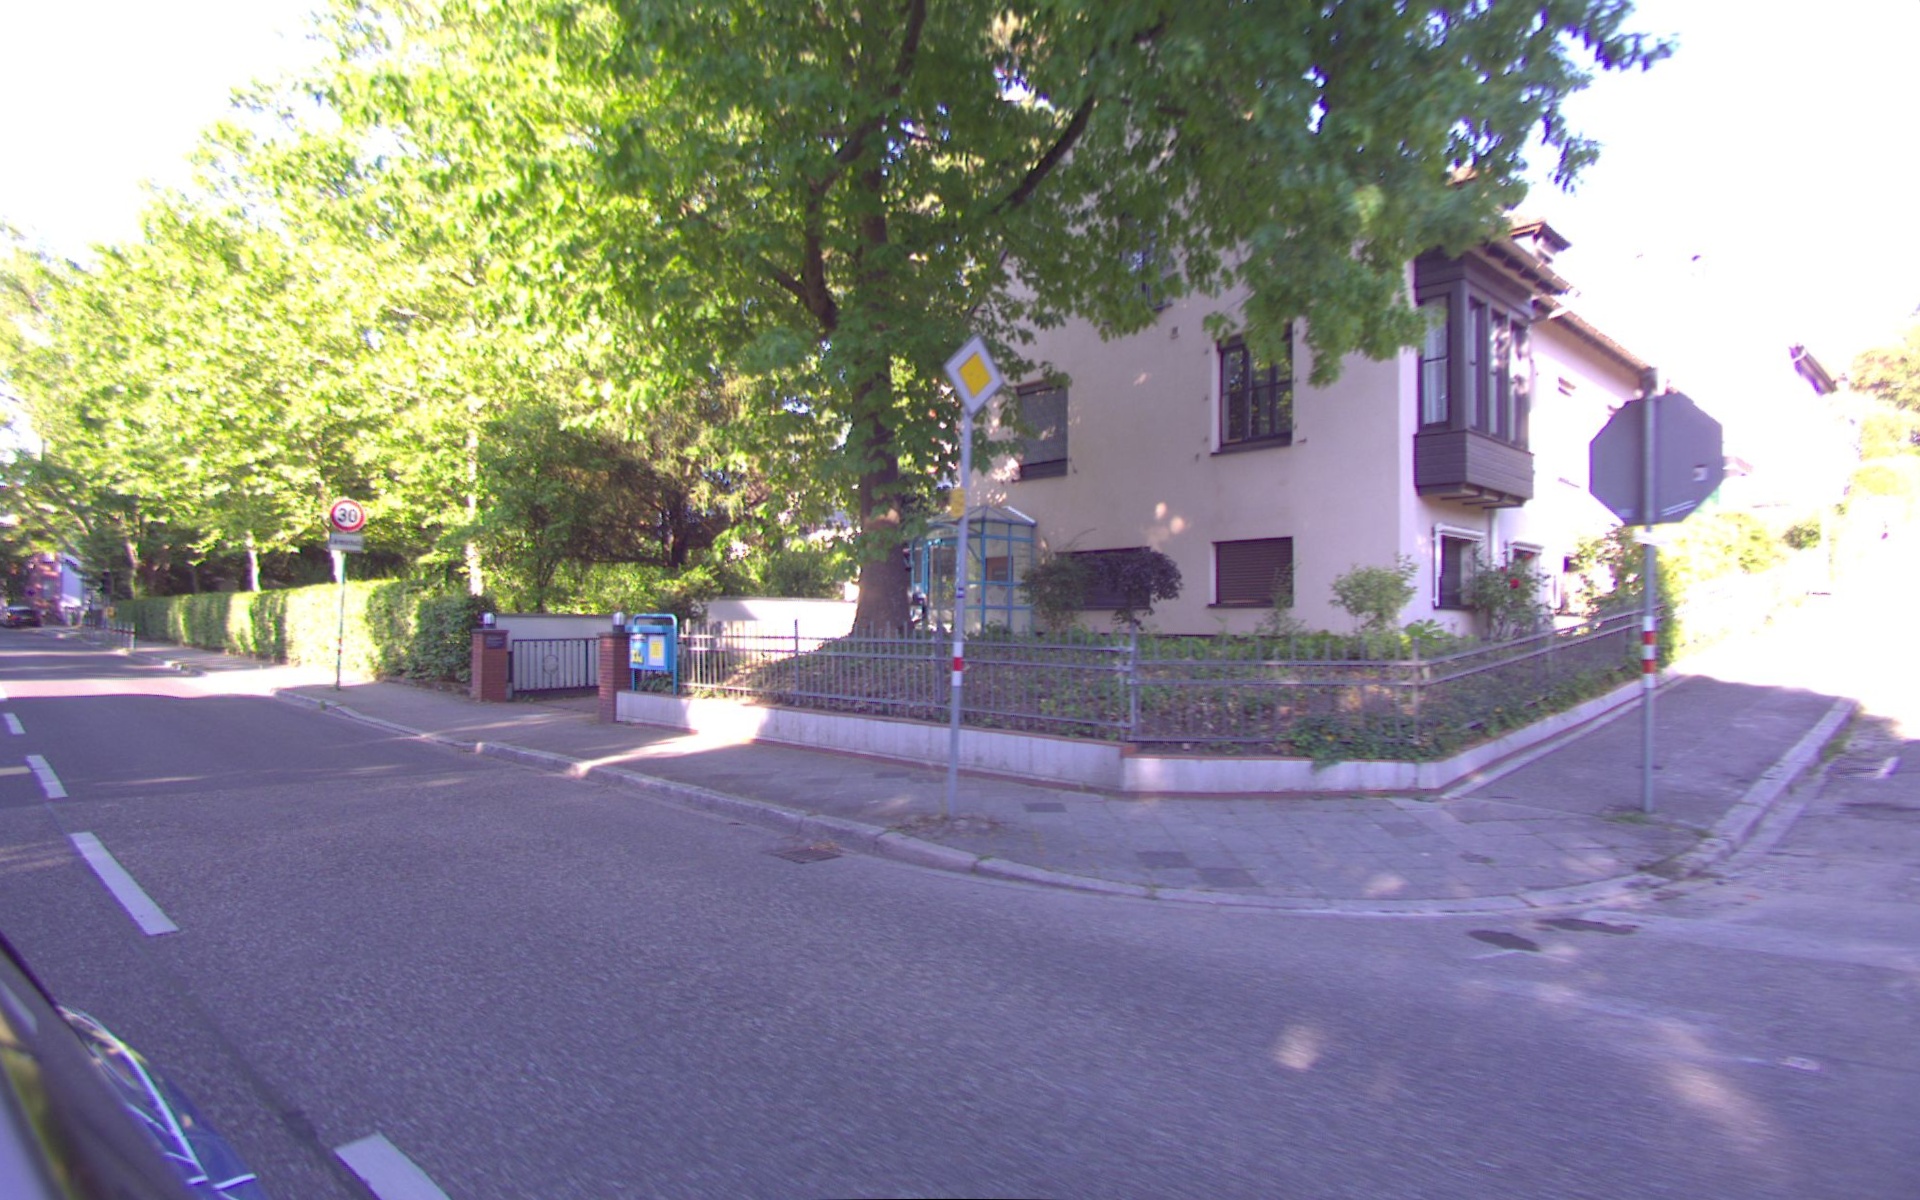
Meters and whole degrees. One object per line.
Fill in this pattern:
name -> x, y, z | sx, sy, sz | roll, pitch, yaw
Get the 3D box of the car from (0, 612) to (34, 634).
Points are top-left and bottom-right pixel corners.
car -> -66.997, 1.610, 71.779 | 3.616, 1.445, 1.667 | -1, 2, 43

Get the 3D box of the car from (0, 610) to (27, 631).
car -> -70.916, 1.508, 75.542 | 3.322, 1.558, 1.606 | -1, -2, 43

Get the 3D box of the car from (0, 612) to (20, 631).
car -> -74.465, 1.640, 78.784 | 3.559, 1.445, 1.606 | -1, 0, 42
